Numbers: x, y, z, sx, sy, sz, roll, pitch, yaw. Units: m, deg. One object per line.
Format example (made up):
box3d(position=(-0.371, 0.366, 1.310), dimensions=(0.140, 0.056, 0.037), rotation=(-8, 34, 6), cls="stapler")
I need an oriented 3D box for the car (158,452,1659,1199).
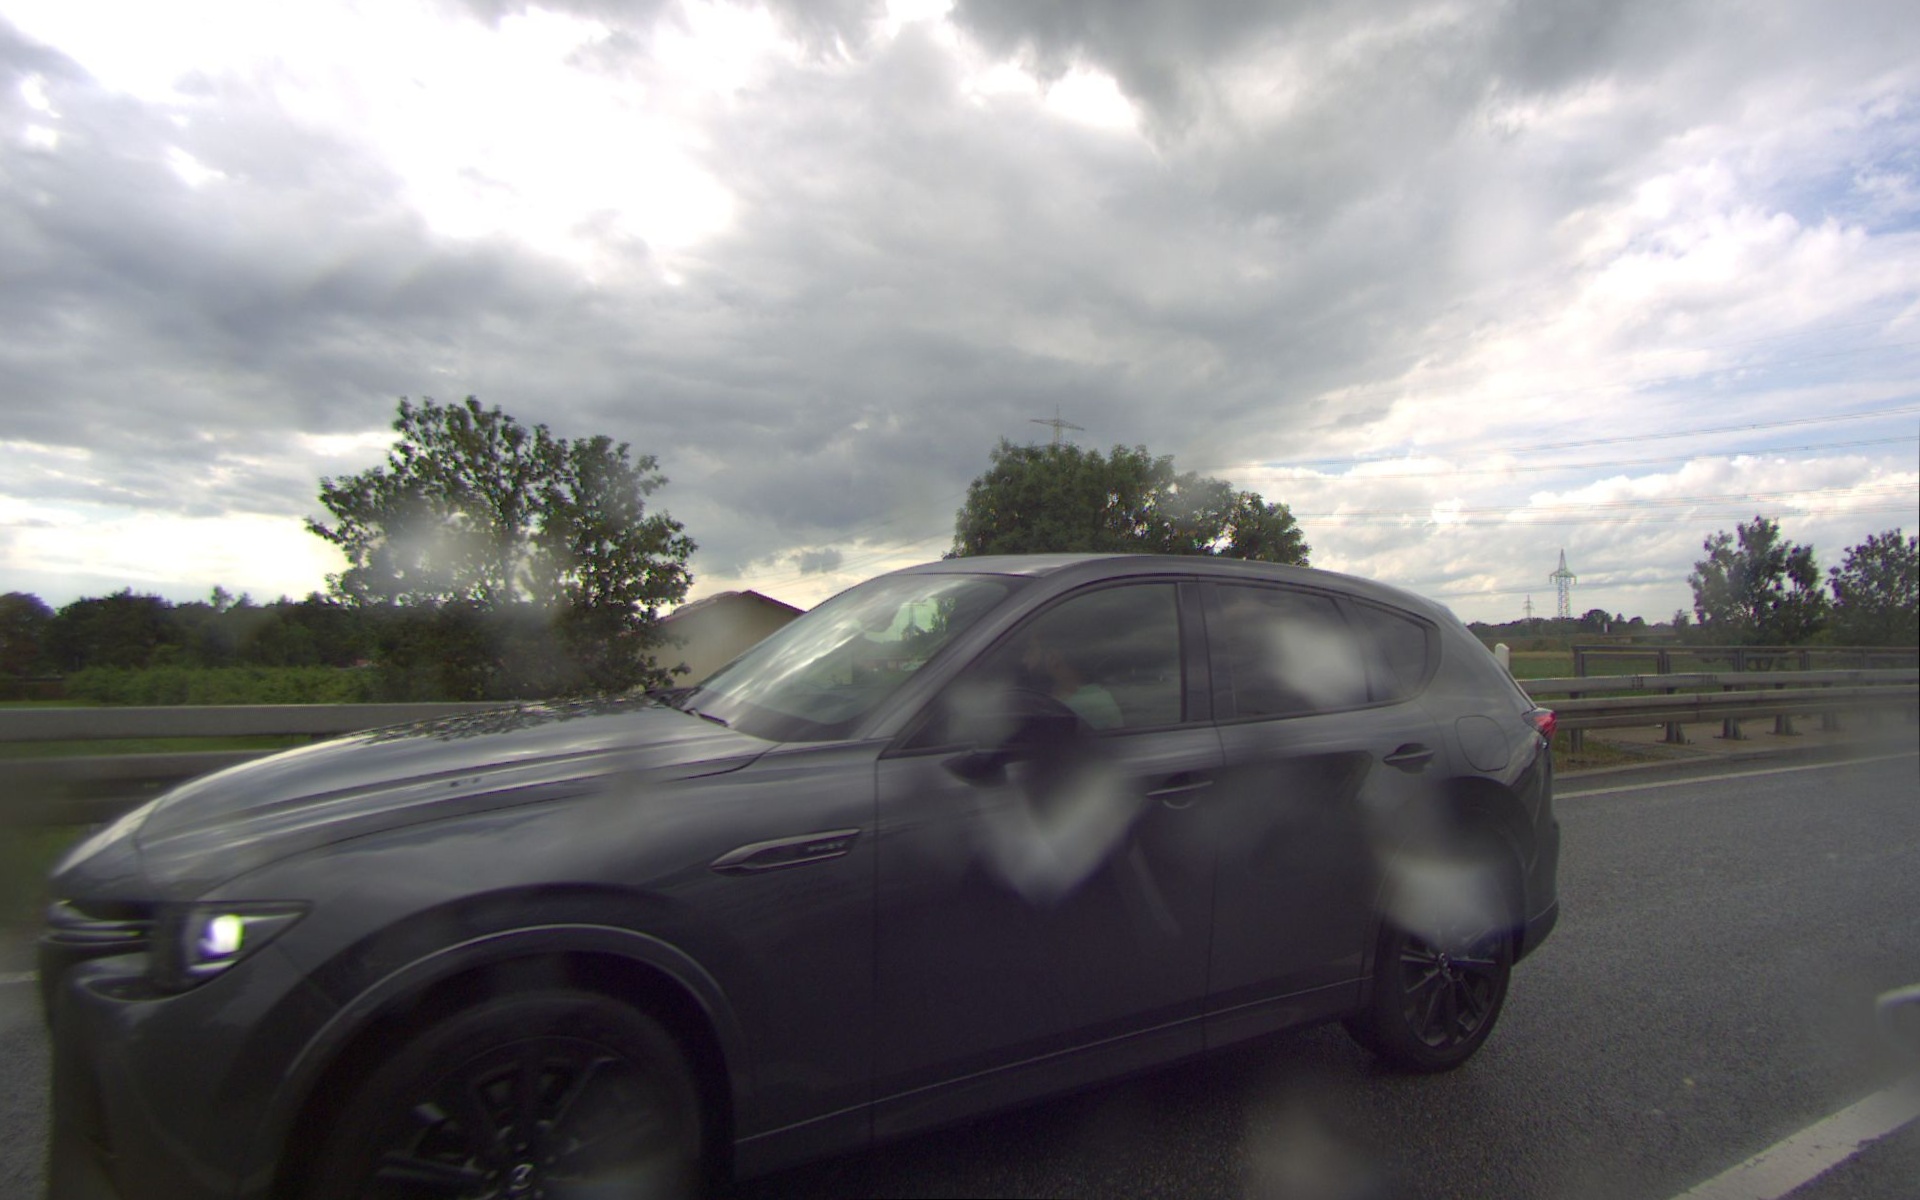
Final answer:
box3d(position=(0.279, 0.644, 3.433), dimensions=(4.470, 1.676, 1.738), rotation=(1, 0, -30), cls="car")
